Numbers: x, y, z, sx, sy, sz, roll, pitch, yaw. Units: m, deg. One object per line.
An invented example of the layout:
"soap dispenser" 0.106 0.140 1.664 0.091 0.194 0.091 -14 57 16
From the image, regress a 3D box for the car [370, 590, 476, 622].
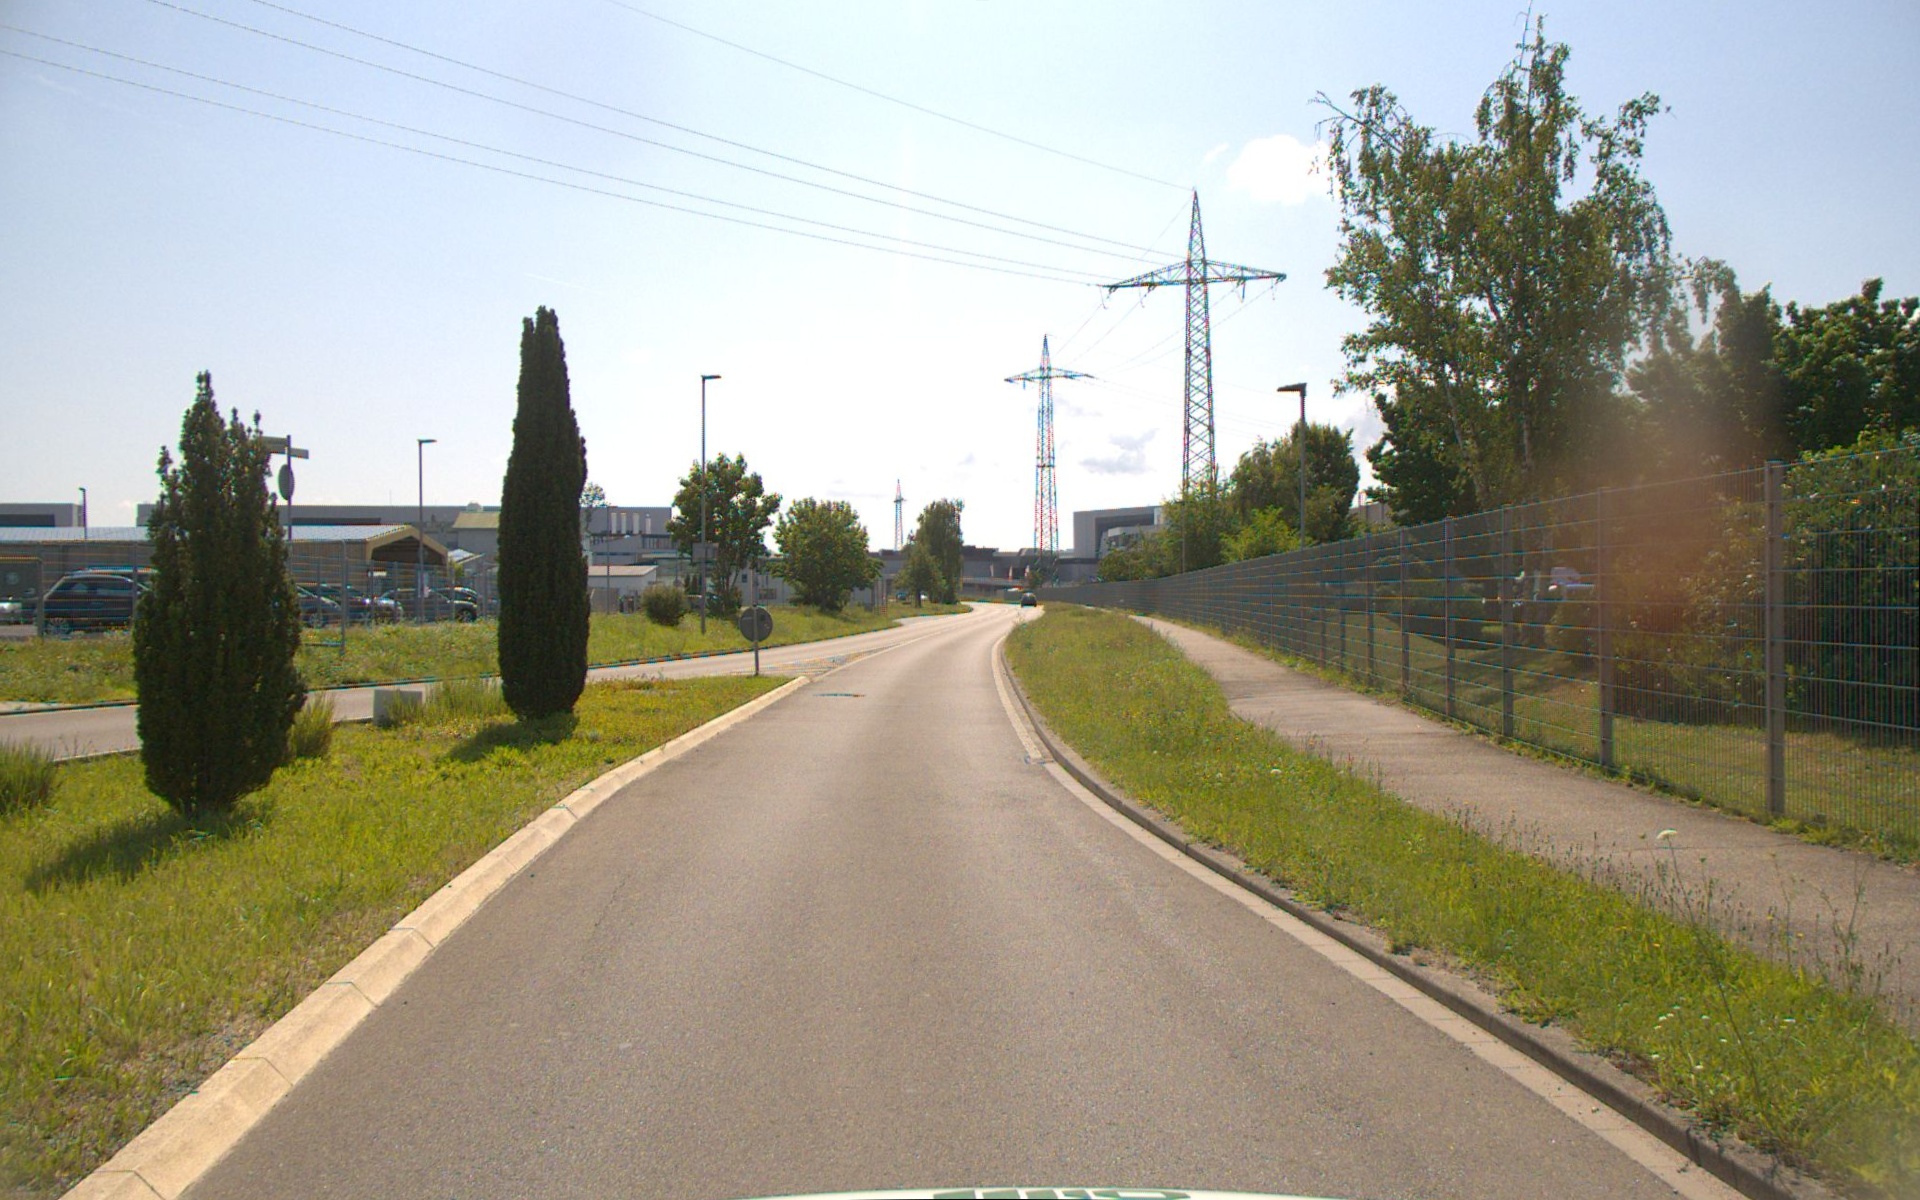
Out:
"car" -22.480 0.240 69.201 3.944 1.333 1.924 0 0 -30

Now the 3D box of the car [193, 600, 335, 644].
"car" -21.964 0.669 52.205 3.944 1.333 1.924 0 0 -30

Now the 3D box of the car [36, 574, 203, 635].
"car" -20.374 0.107 40.249 3.512 1.426 1.787 0 0 -25

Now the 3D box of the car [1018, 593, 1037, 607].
"car" 7.585 -0.050 185.585 1.970 1.534 4.000 0 0 1

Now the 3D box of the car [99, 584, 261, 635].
"car" -21.680 0.247 45.988 3.944 1.333 1.923 -1 0 -30

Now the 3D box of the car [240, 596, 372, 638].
"car" -21.990 0.555 55.621 3.941 1.333 1.925 0 0 -28

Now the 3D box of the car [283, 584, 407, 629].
"car" -22.059 0.225 59.355 3.944 1.567 1.924 0 0 -30

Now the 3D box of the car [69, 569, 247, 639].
"car" -20.683 0.073 42.674 4.052 1.734 1.706 -1 0 -30
